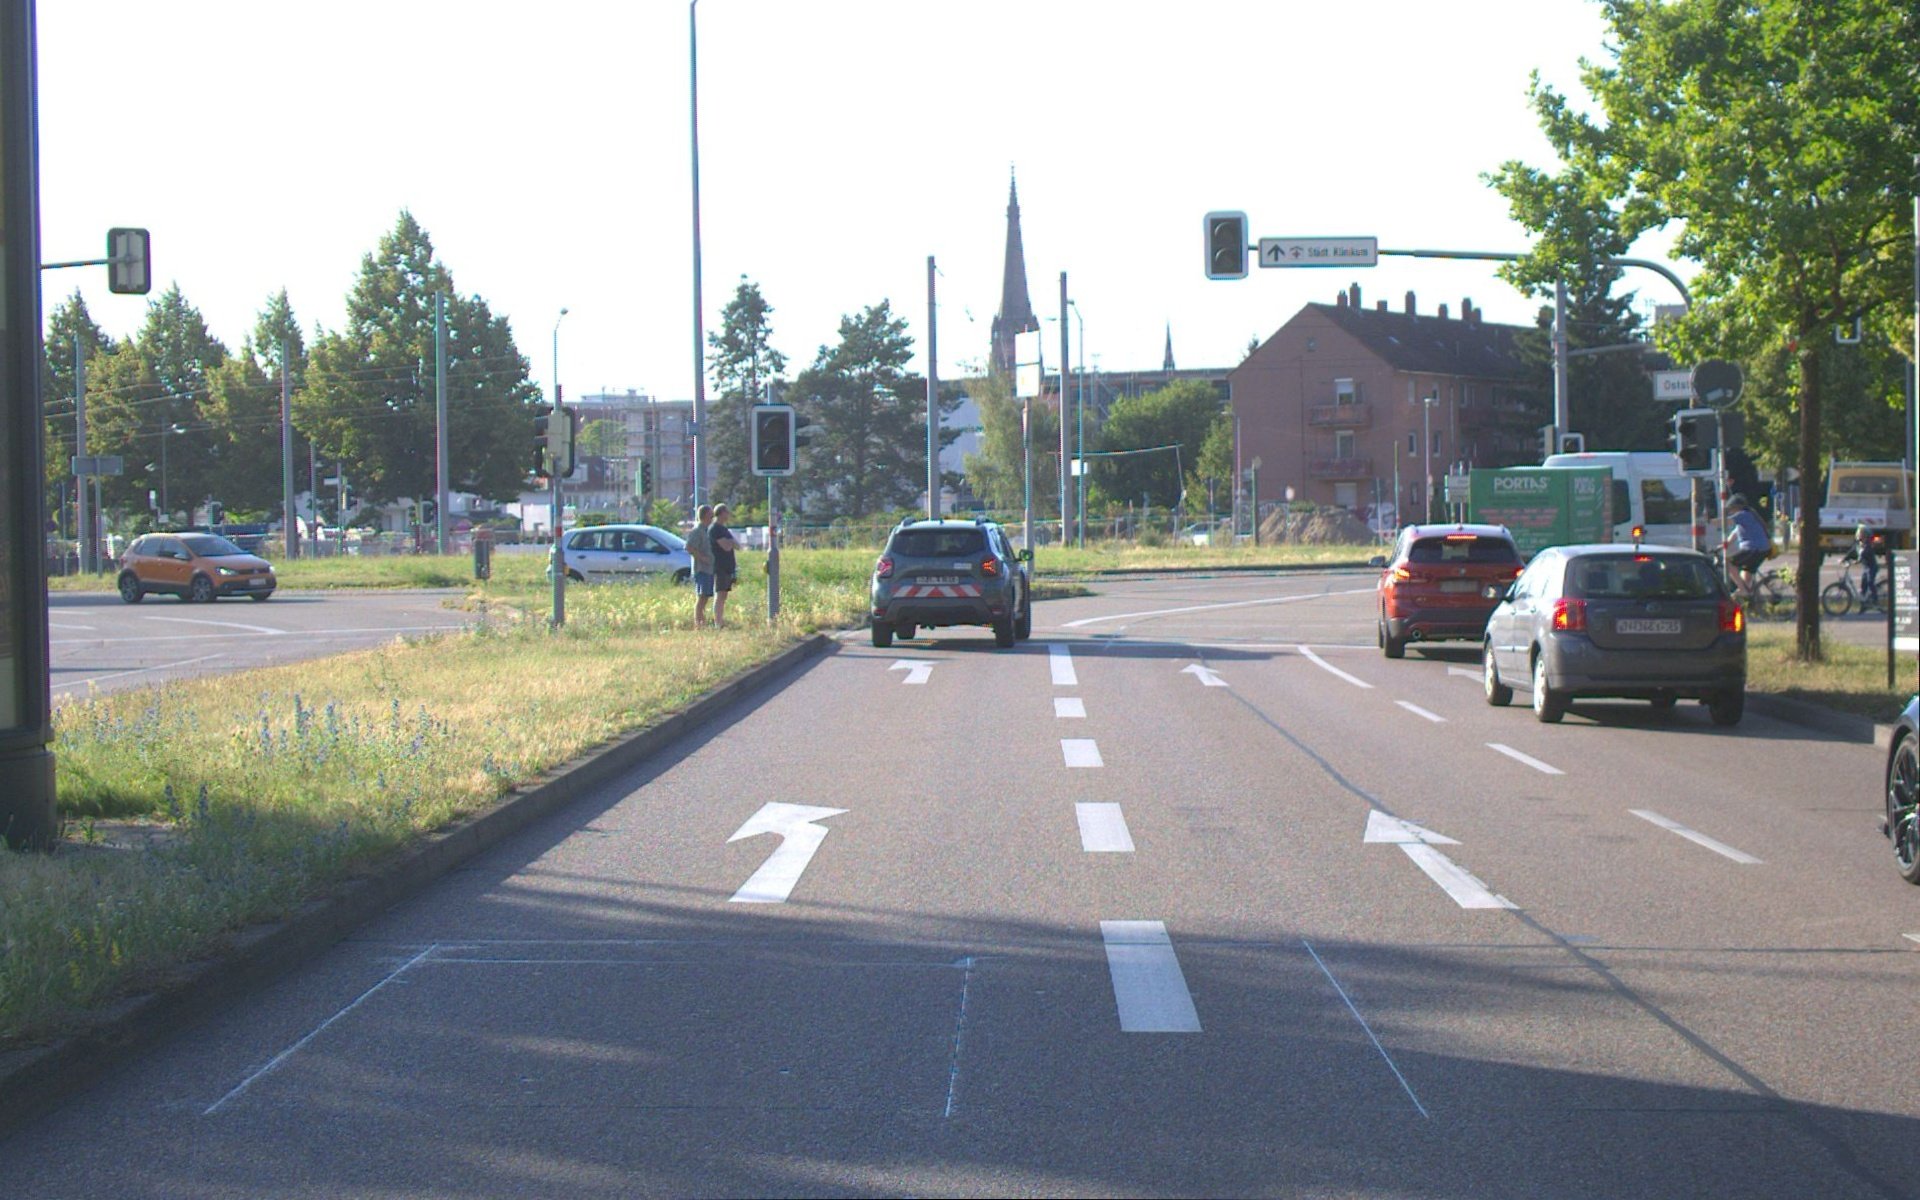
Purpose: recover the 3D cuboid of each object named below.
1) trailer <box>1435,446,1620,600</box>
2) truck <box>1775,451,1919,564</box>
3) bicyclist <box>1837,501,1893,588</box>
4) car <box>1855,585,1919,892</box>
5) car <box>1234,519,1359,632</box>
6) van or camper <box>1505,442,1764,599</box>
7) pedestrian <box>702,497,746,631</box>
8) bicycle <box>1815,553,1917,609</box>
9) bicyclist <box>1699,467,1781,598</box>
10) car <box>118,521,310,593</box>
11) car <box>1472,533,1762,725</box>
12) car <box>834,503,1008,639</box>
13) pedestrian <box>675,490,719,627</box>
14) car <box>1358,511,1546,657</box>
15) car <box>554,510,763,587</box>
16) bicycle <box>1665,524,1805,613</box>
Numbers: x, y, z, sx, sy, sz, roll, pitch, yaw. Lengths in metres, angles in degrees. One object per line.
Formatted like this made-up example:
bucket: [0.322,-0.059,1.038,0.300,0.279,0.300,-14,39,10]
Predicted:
trailer: [9.179,-1.254,55.430,2.093,2.392,3.497,1,2,24]
truck: [21.387,-2.225,81.487,2.584,2.549,6.243,0,2,27]
bicyclist: [13.663,-0.844,51.886,0.648,1.290,0.466,-2,2,-16]
car: [5.123,0.647,13.822,1.854,1.333,4.625,1,1,1]
car: [5.070,-0.403,52.164,1.602,1.604,4.000,-1,2,2]
van or camper: [11.987,-1.425,60.698,2.289,2.620,6.571,1,2,32]
pedestrian: [-3.289,-0.507,47.936,0.486,1.837,0.672,-1,1,4]
bicycle: [13.673,-0.291,51.900,1.459,0.783,0.440,-2,2,-16]
bicyclist: [11.490,-0.992,50.654,0.938,1.892,0.600,-2,1,38]
car: [-15.937,-0.914,73.317,4.136,1.439,1.905,0,2,42]
car: [5.537,0.196,29.402,1.747,1.468,3.820,-1,2,0]
car: [-0.553,-0.398,44.703,1.905,1.654,4.001,-1,1,-6]
pedestrian: [-3.580,-0.570,46.829,0.486,1.837,0.719,-1,1,1]
car: [5.972,-0.240,42.083,1.747,1.615,3.820,2,2,1]
car: [-6.012,-1.033,68.725,3.749,1.429,1.835,-1,2,13]
bicycle: [11.428,-0.461,50.725,1.908,1.240,0.608,-2,1,38]
